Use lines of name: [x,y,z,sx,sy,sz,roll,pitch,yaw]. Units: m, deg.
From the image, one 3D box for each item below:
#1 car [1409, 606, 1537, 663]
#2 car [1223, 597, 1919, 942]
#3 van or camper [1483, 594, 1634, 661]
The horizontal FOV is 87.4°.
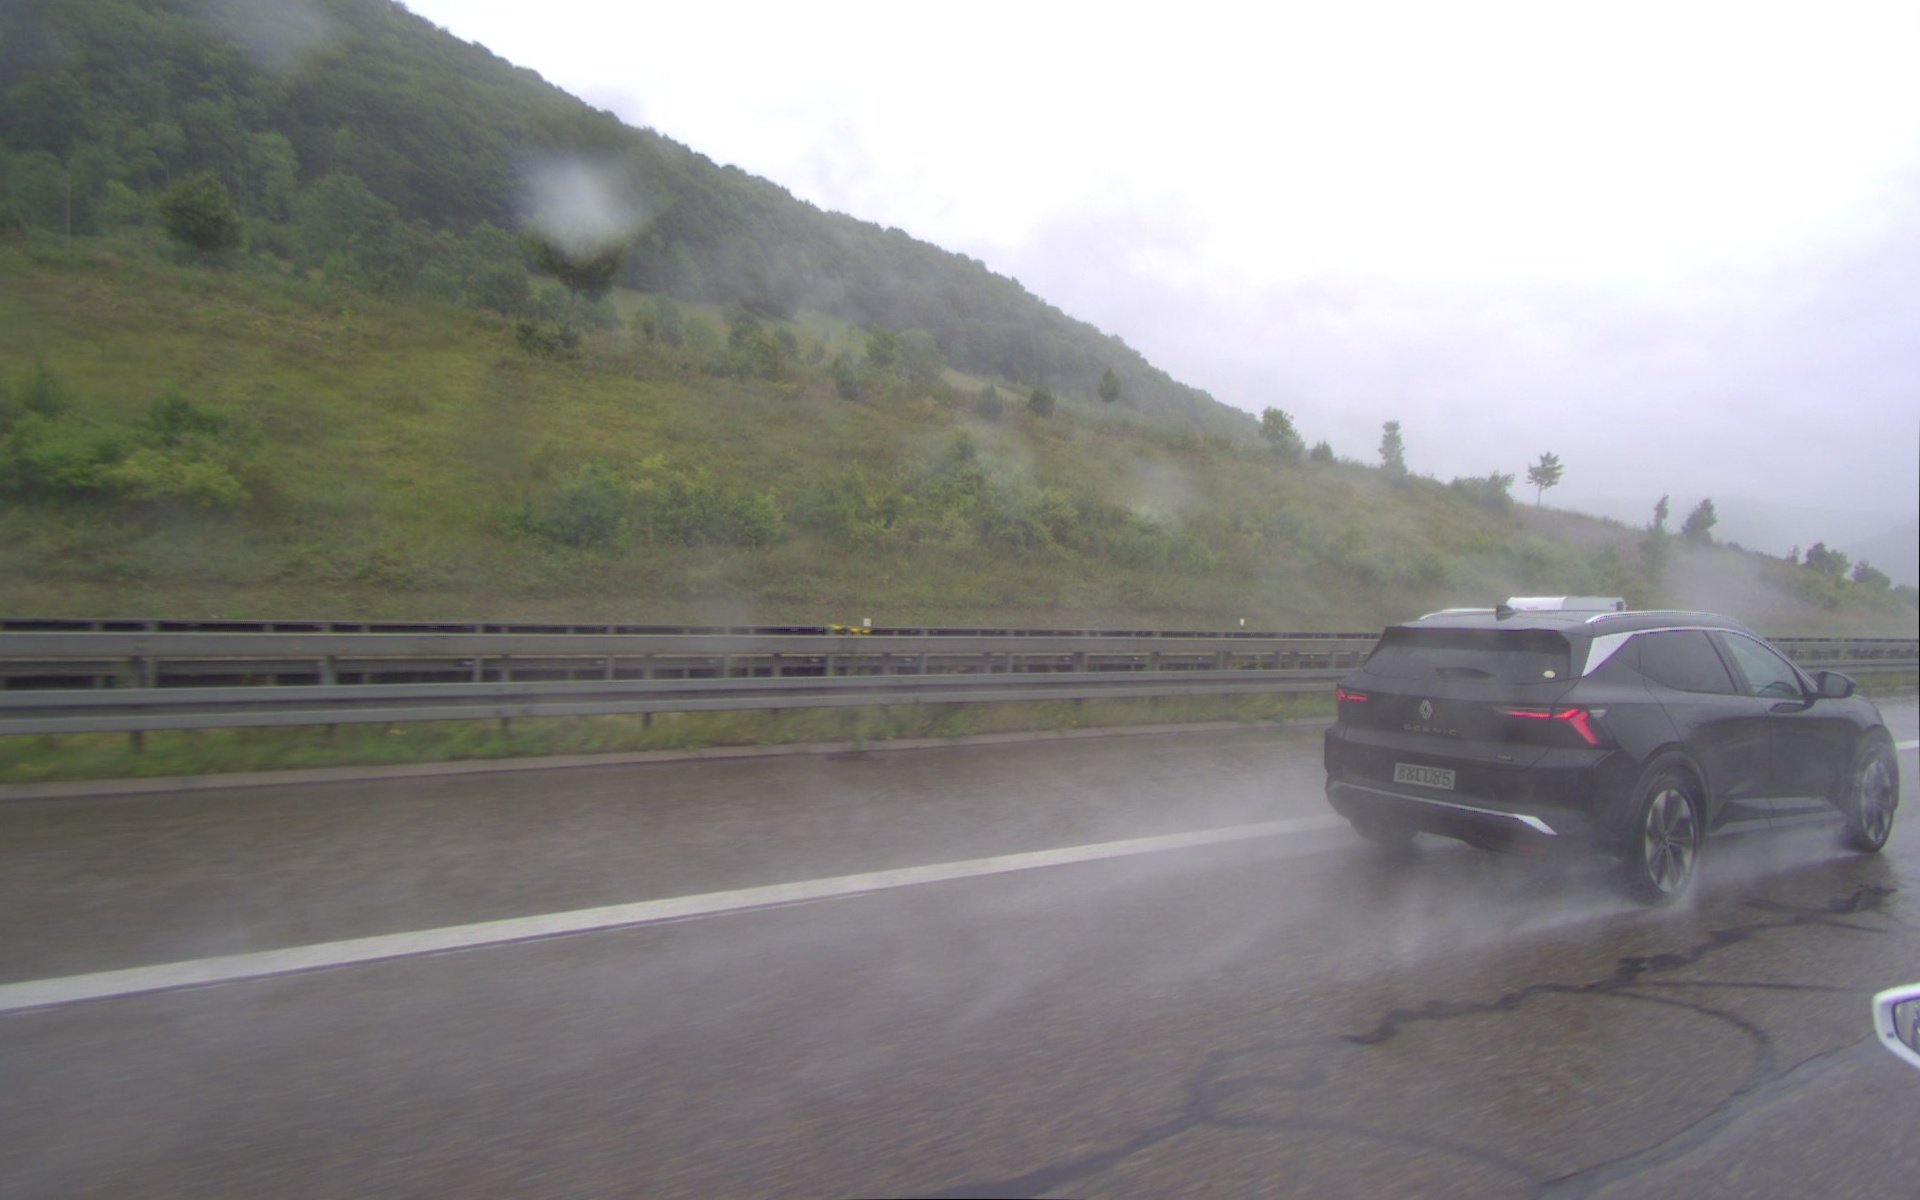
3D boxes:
car: [19.610,1.297,38.365,5.120,2.042,1.983,1,0,-32]
car: [4.388,0.822,6.760,4.726,1.535,2.395,2,0,-29]
van or camper: [24.864,1.133,41.602,7.124,2.598,2.332,1,0,-32]
